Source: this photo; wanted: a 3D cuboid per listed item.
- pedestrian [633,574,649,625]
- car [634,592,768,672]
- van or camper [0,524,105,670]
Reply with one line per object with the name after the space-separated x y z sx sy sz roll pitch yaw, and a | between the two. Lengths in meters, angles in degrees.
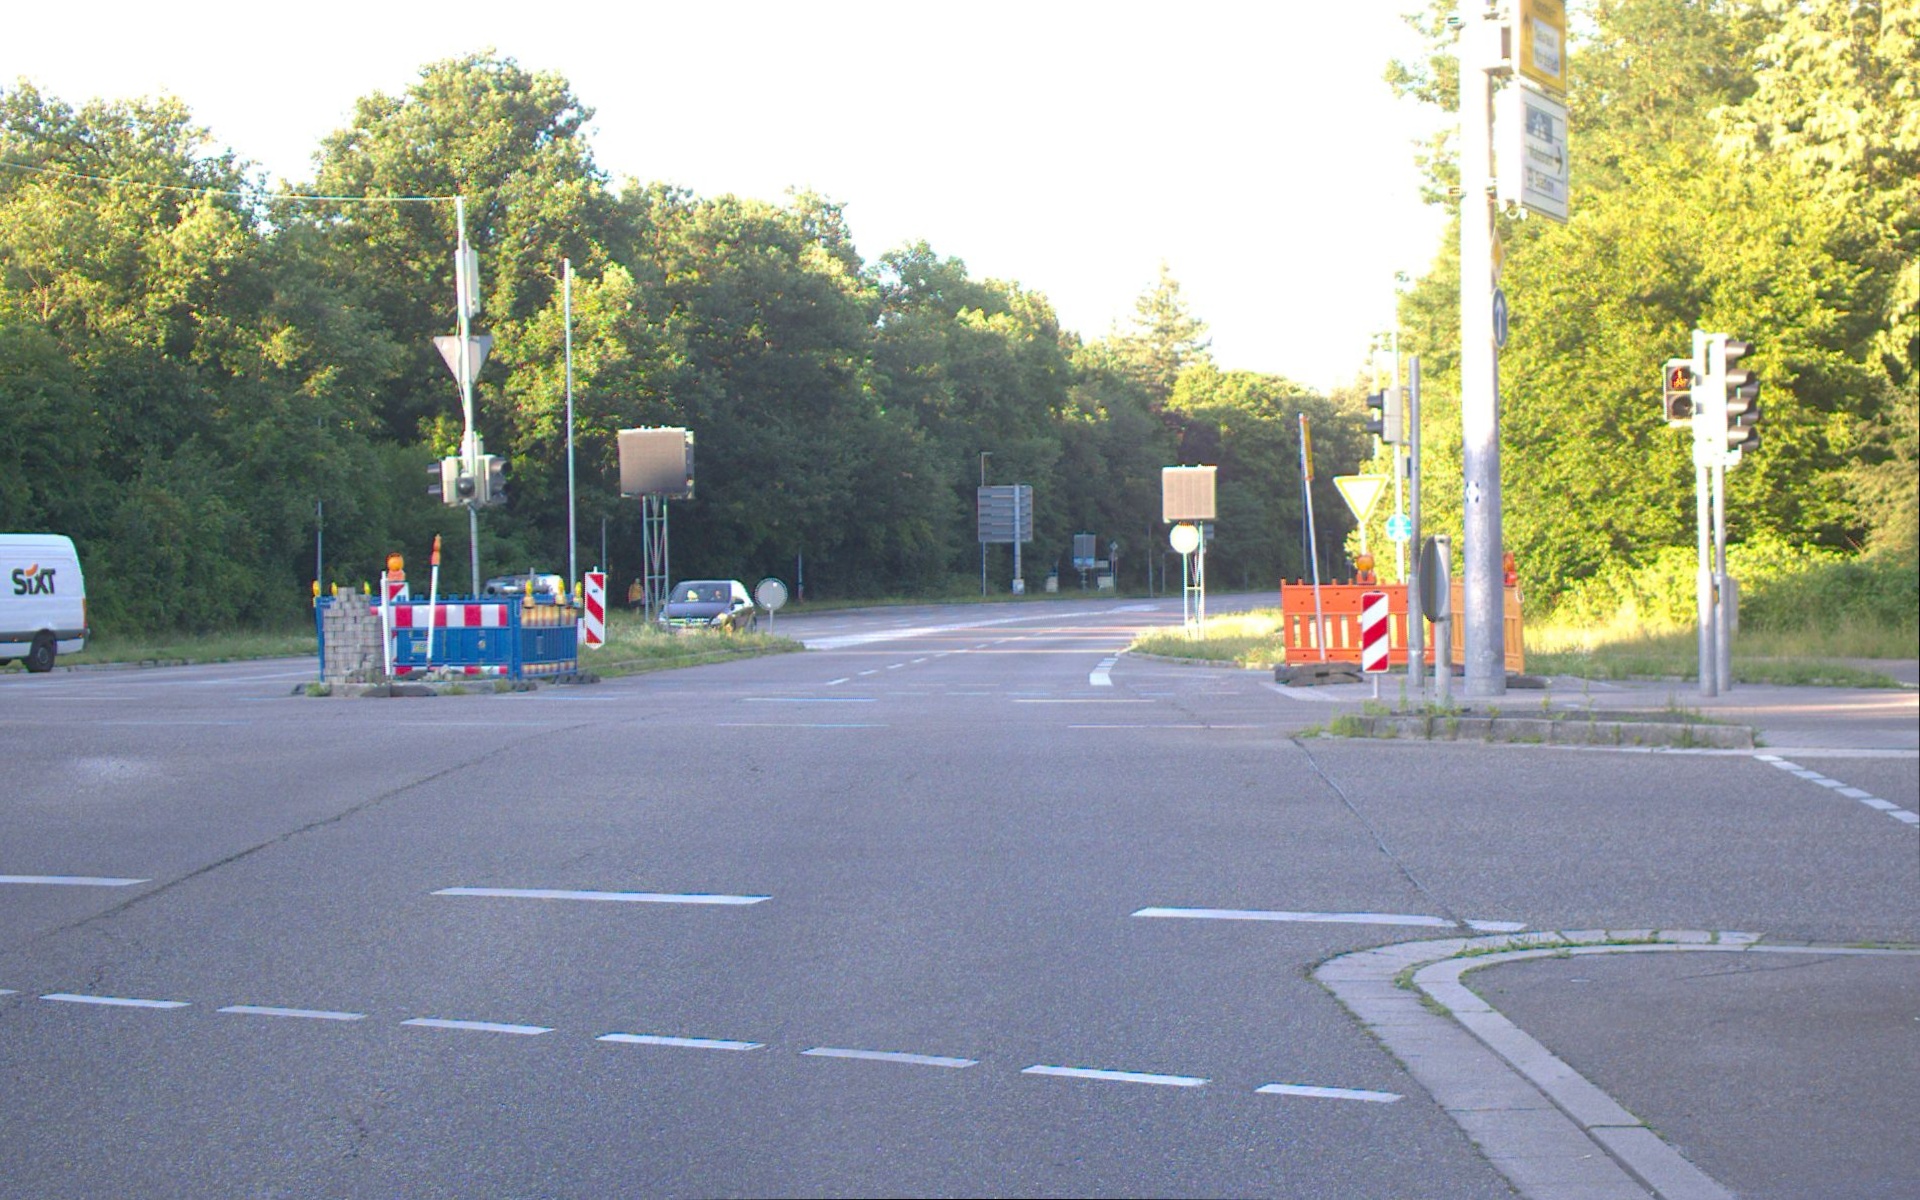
-12.473 -0.017 134.427 0.521 2.007 0.600 1 0 -1 | pedestrian
-5.973 0.725 79.716 1.994 1.634 3.998 -2 2 12 | car
-18.957 -0.044 62.862 2.888 2.643 7.114 0 1 21 | van or camper
